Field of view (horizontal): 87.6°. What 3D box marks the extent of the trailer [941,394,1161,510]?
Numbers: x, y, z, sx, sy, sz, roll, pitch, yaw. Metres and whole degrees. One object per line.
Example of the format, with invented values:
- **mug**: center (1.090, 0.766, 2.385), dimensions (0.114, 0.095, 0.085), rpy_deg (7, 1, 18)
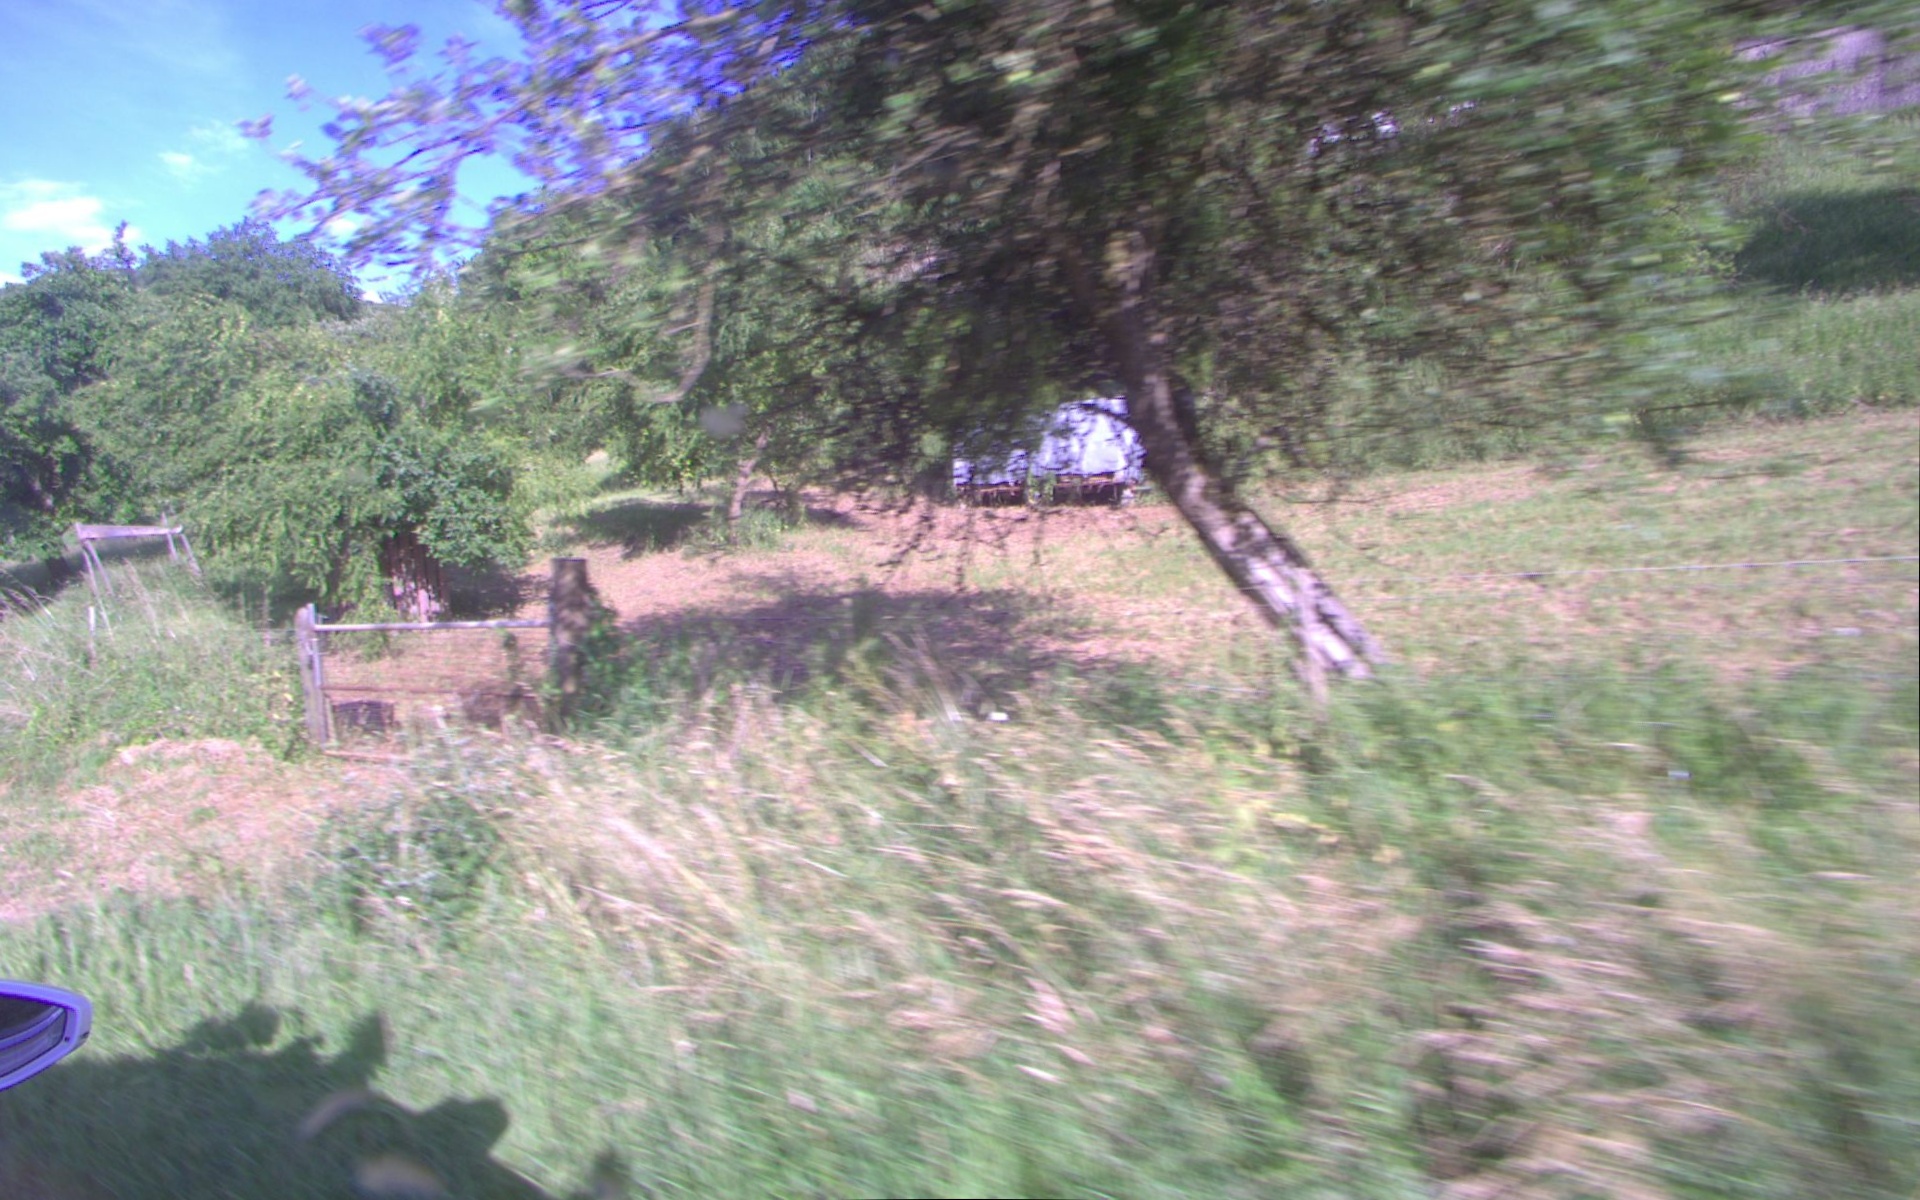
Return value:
- **trailer**: center (2.297, -3.659, 25.668), dimensions (5.163, 2.595, 2.149), rpy_deg (3, 4, 28)
